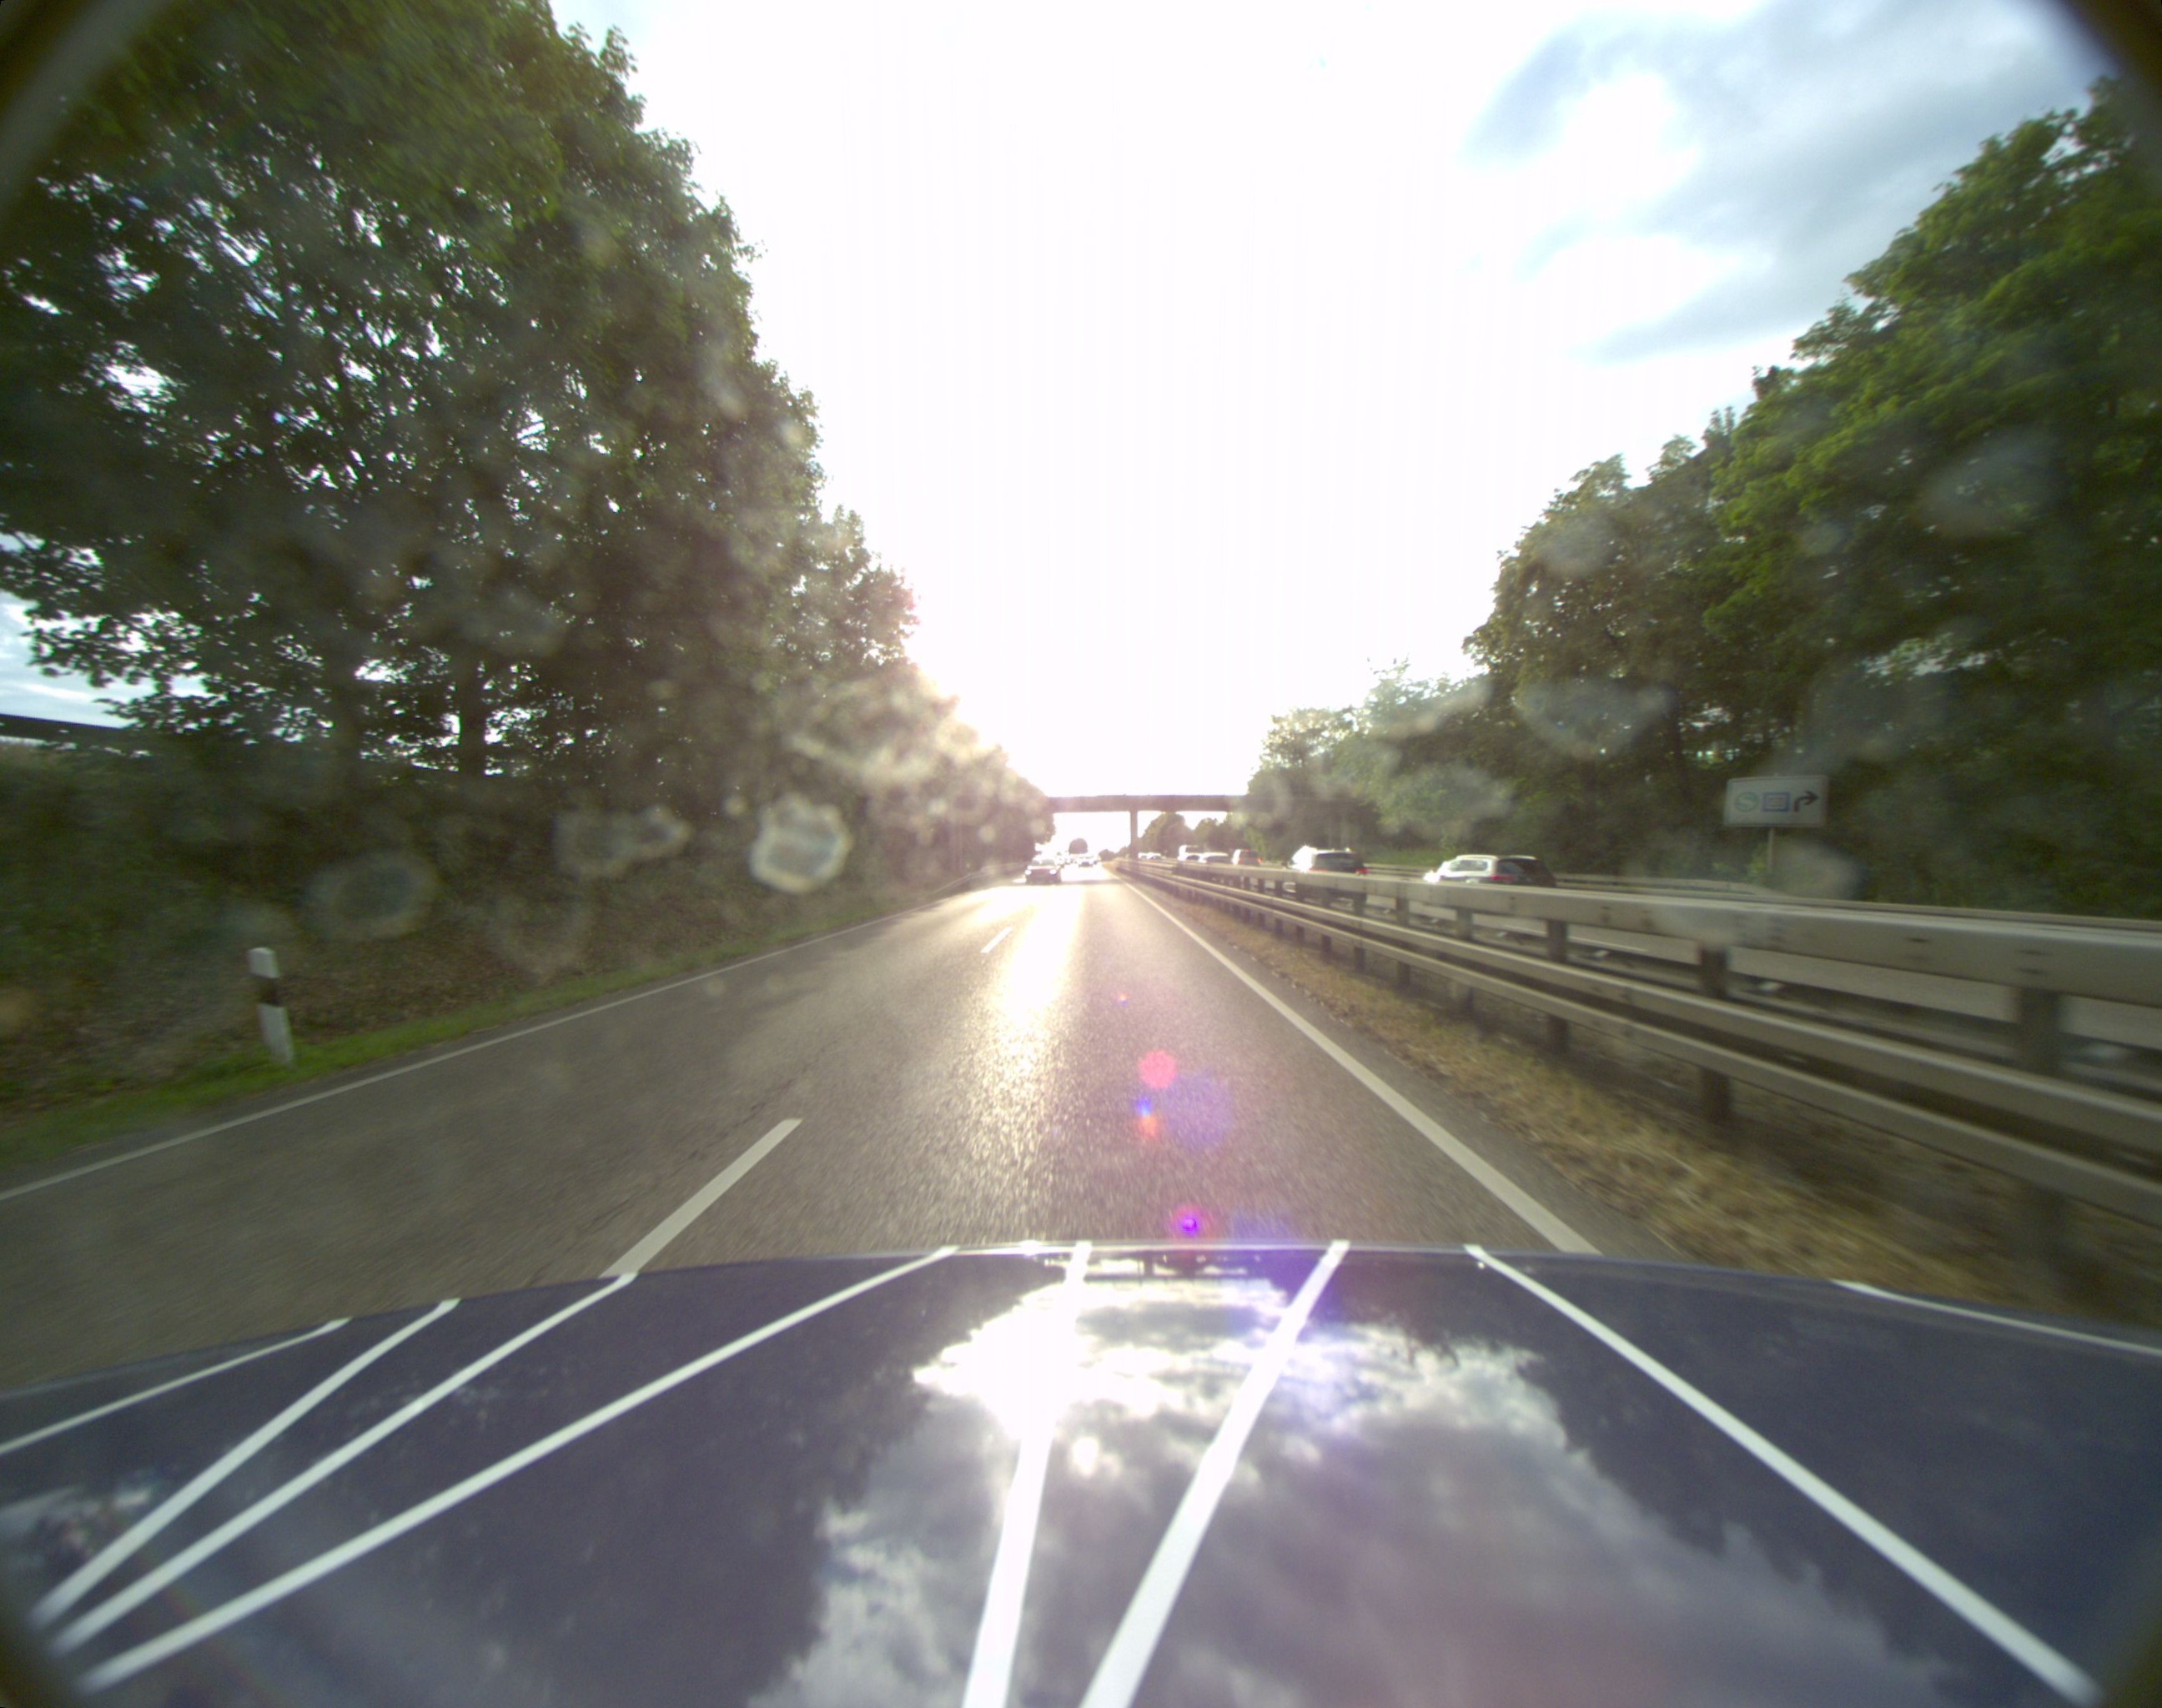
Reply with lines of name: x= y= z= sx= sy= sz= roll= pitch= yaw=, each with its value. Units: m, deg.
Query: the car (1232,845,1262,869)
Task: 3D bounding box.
car: x=13.776 y=0.222 z=63.332 sx=1.871 sy=1.844 sz=4.624 roll=-2 pitch=0 yaw=6

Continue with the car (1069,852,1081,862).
car: x=-1.055 y=0.533 z=139.014 sx=1.948 sy=1.652 sz=4.001 roll=-2 pitch=0 yaw=2

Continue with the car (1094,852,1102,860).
car: x=4.239 y=0.438 z=191.811 sx=1.998 sy=2.002 sz=4.000 roll=-2 pitch=0 yaw=1

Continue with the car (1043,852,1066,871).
car: x=-2.372 y=0.669 z=68.452 sx=1.723 sy=1.657 sz=4.420 roll=-2 pitch=0 yaw=2

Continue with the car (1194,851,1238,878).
car: x=7.090 y=0.519 z=40.119 sx=1.680 sy=1.344 sz=3.831 roll=-1 pitch=0 yaw=1

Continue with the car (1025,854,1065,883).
car: x=-1.932 y=0.773 z=41.906 sx=1.723 sy=1.467 sz=3.729 roll=-3 pitch=-1 yaw=3

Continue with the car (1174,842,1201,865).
car: x=12.260 y=-0.081 z=87.948 sx=2.255 sy=2.522 sz=6.940 roll=-1 pitch=0 yaw=1

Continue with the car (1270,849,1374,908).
car: x=7.099 y=0.655 z=22.844 sx=1.825 sy=1.575 sz=4.316 roll=-1 pitch=0 yaw=1

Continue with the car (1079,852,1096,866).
car: x=0.787 y=0.584 z=87.620 sx=1.723 sy=1.493 sz=4.420 roll=-2 pitch=0 yaw=2

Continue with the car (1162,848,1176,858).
car: x=14.636 y=-0.163 z=126.011 sx=1.839 sy=1.527 sz=4.397 roll=5 pitch=1 yaw=2

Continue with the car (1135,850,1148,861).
car: x=9.496 y=0.193 z=119.633 sx=1.827 sy=1.575 sz=4.790 roll=-1 pitch=0 yaw=1

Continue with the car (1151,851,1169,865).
car: x=9.142 y=0.440 z=87.941 sx=1.610 sy=1.519 sz=3.640 roll=-1 pitch=0 yaw=0

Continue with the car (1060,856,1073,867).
car: x=-2.202 y=1.121 z=115.583 sx=1.723 sy=1.657 sz=4.420 roll=-2 pitch=0 yaw=2

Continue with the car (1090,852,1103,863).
car: x=2.305 y=0.523 z=112.886 sx=1.786 sy=1.623 sz=3.866 roll=-2 pitch=0 yaw=2

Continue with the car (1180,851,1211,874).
car: x=7.939 y=0.560 z=52.874 sx=1.686 sy=1.477 sz=3.646 roll=-1 pitch=0 yaw=1

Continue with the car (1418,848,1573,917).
car: x=10.642 y=0.657 z=19.914 sx=1.747 sy=1.580 sz=4.311 roll=0 pitch=1 yaw=1
